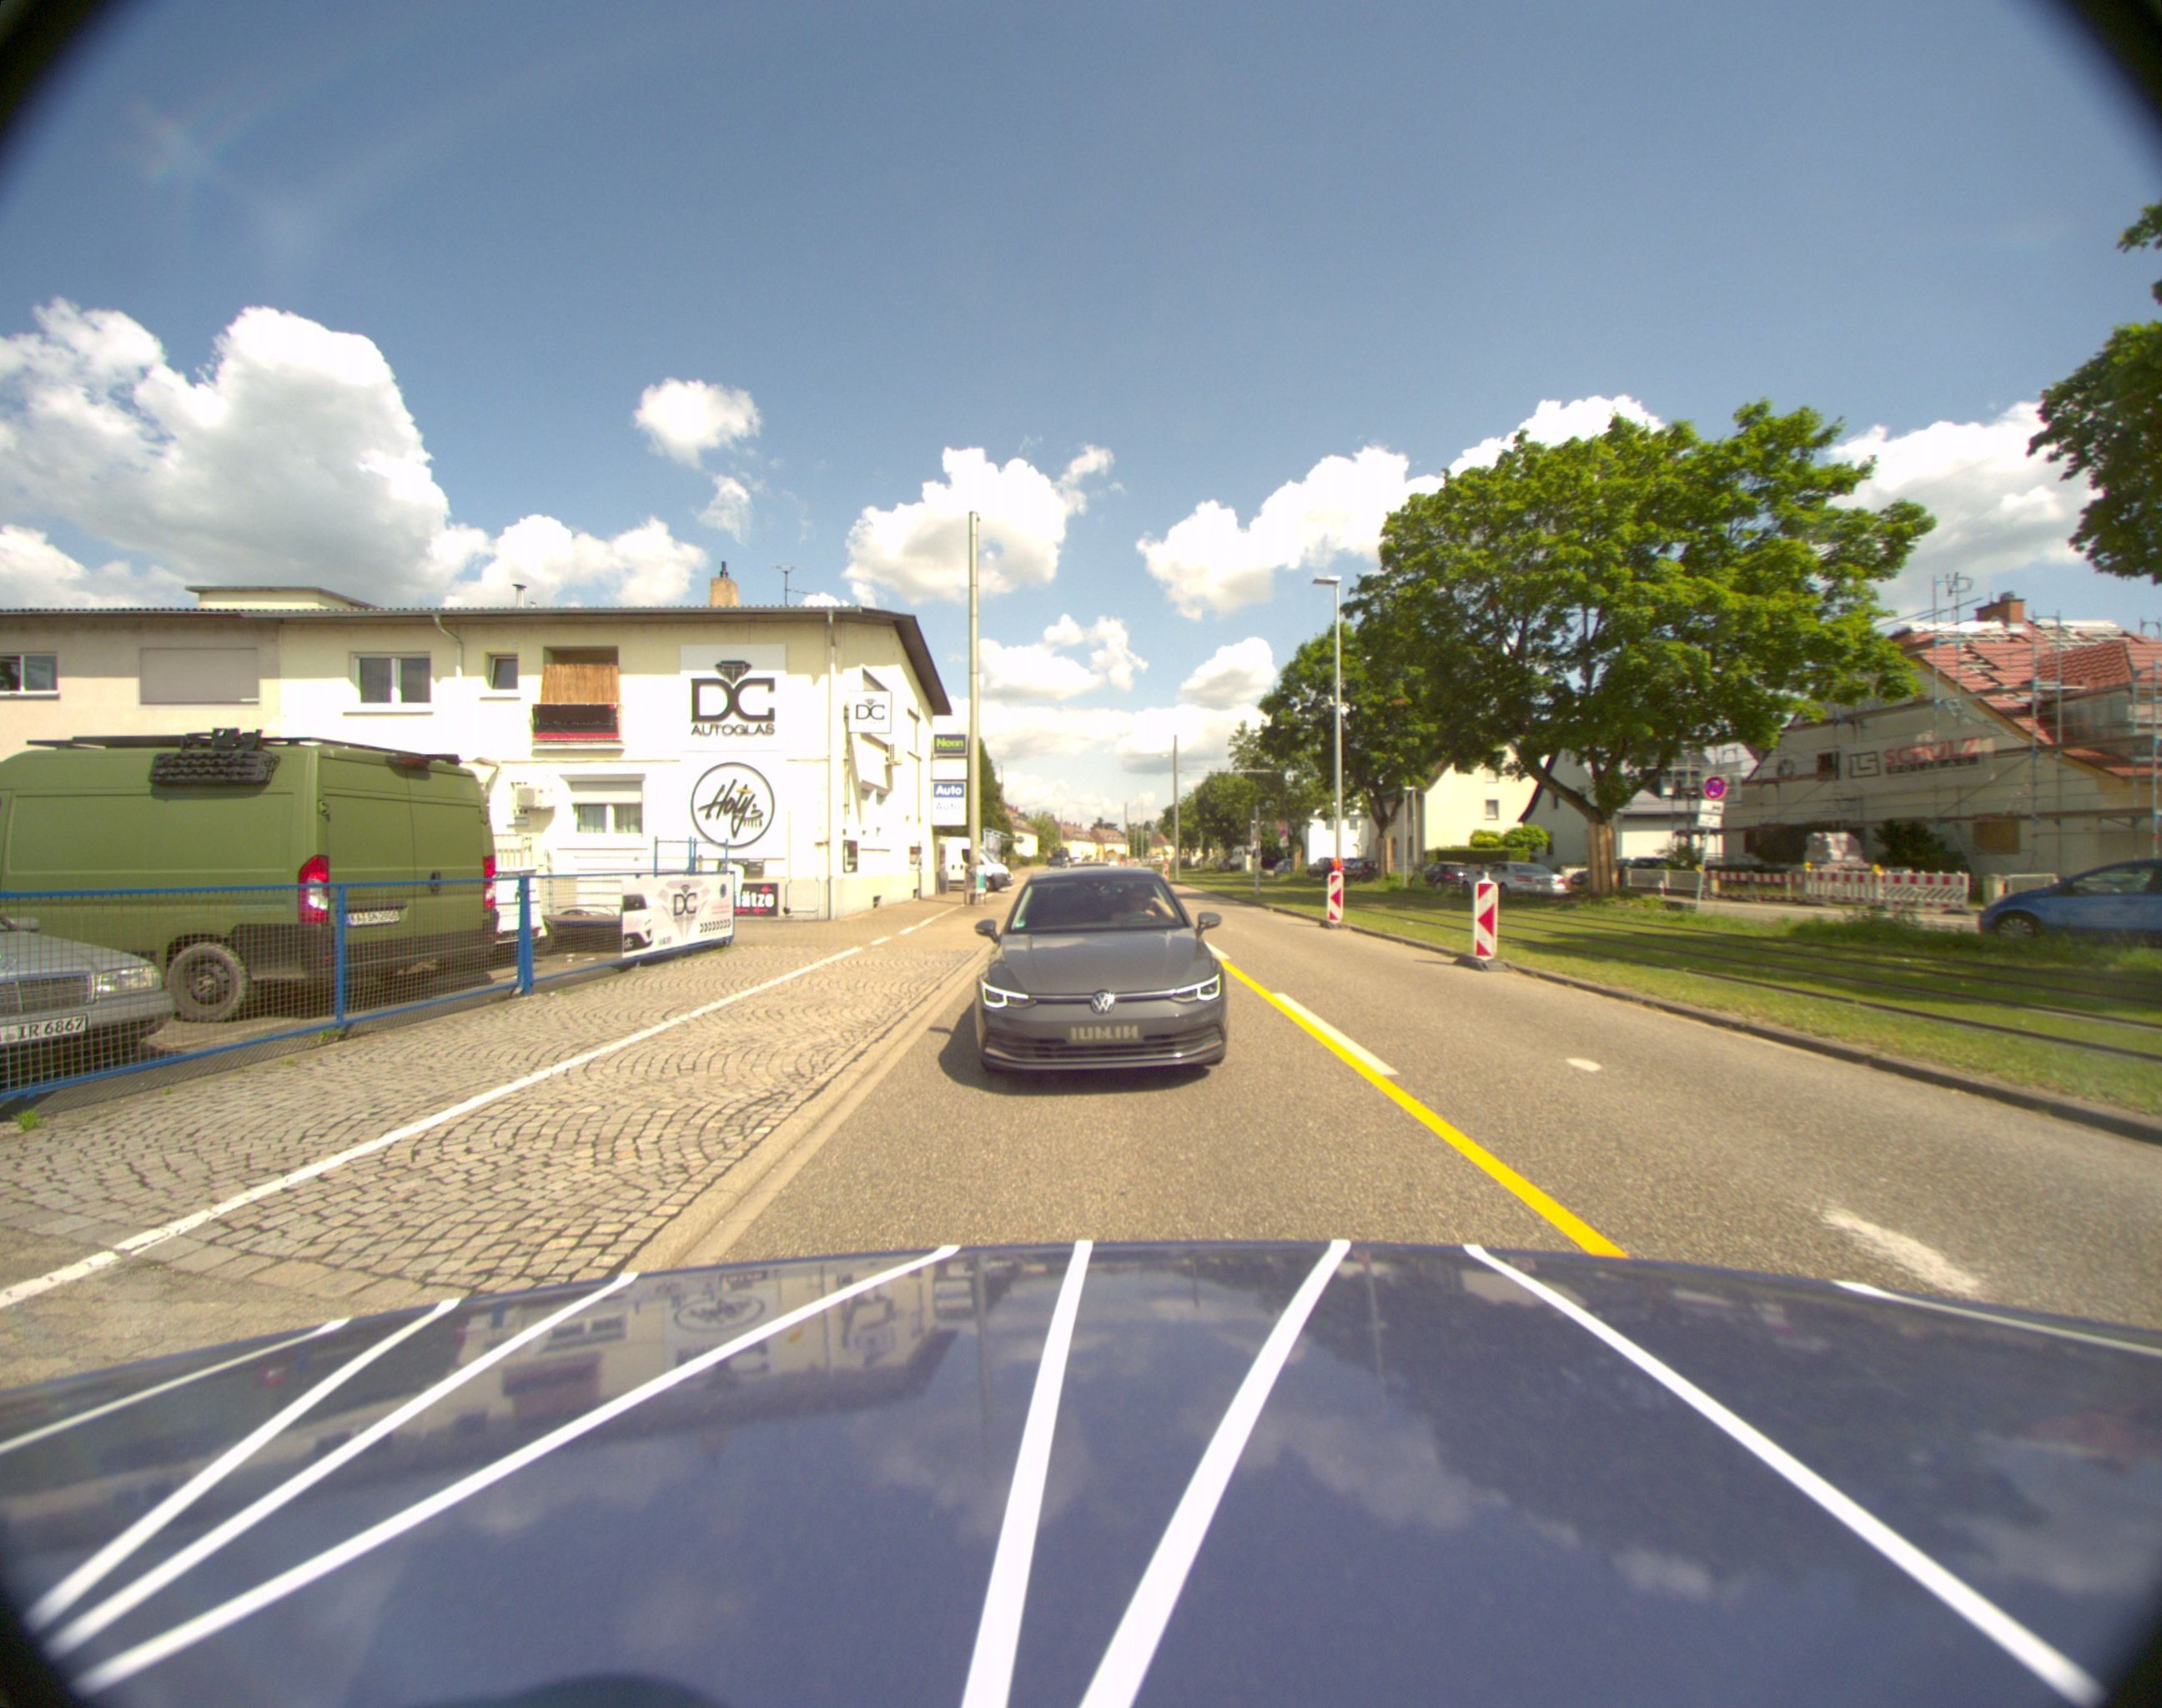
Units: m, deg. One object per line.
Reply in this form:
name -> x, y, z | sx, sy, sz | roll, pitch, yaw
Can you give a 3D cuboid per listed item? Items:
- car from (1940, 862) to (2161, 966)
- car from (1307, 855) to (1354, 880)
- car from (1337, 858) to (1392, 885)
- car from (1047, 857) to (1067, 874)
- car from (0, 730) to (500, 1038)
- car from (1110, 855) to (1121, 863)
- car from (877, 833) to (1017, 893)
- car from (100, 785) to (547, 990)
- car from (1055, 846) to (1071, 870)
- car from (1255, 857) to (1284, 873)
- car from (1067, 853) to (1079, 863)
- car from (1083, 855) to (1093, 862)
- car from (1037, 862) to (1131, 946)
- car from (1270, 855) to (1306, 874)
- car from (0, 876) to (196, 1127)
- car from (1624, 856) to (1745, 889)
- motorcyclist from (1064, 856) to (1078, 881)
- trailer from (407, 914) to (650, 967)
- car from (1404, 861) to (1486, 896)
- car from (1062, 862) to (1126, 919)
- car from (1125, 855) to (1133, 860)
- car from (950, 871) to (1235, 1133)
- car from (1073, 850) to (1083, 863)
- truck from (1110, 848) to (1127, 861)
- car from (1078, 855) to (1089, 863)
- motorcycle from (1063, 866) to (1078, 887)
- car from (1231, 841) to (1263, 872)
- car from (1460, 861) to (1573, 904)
car -> 16.222, 0.862, 11.397 | 1.702, 1.477, 4.407 | -1, -1, 1
car -> 16.553, 0.894, 50.659 | 1.702, 1.562, 4.407 | -1, -1, 1
car -> 16.770, 1.031, 45.153 | 1.702, 1.477, 4.407 | -1, -1, 1
car -> -2.186, 1.043, 70.752 | 1.702, 1.574, 4.000 | 0, 0, 1
car -> -8.726, 0.268, 7.608 | 4.207, 2.627, 2.113 | 0, 0, 2
car -> 6.709, 0.942, 150.239 | 2.118, 1.477, 4.406 | 0, 0, 2
car -> -5.927, 0.386, 34.074 | 5.836, 2.449, 2.092 | 2, 0, 1
car -> -9.500, 0.400, 9.747 | 4.207, 2.392, 1.586 | 0, 0, 2
car -> -1.913, 0.444, 82.437 | 1.702, 2.510, 5.144 | 0, 0, 0
car -> 17.646, 1.072, 71.325 | 1.702, 1.477, 4.407 | -1, -1, 1
car -> -1.315, 0.667, 123.038 | 1.701, 1.574, 4.001 | 0, 0, 3
car -> 1.443, 0.899, 155.836 | 1.701, 1.574, 4.002 | 0, 0, 7
car -> 0.079, 0.937, 15.788 | 1.702, 1.477, 4.000 | 0, 0, 1
car -> 16.643, 0.870, 61.280 | 1.702, 1.477, 4.407 | -1, -1, 1
car -> -8.459, 0.886, 4.772 | 4.282, 1.444, 1.713 | 0, 0, 8
car -> 28.905, 0.885, 36.509 | 4.402, 1.477, 1.704 | -1, -1, 1
motorcyclist -> -0.534, 0.770, 40.066 | 0.658, 1.284, 0.780 | 0, 0, 3
trailer -> -8.368, 1.304, 11.658 | 2.733, 0.662, 1.329 | 0, 0, -1
car -> 16.625, 1.116, 34.936 | 1.702, 1.477, 4.407 | -1, -1, 1
car -> 0.364, 1.007, 22.261 | 1.702, 1.477, 4.000 | 0, 0, 1
car -> 13.822, 0.936, 218.680 | 1.700, 1.574, 4.005 | 0, 0, 16
car -> 0.096, 0.933, 6.545 | 1.702, 1.477, 4.000 | 0, 0, 1
car -> -0.494, 0.414, 136.208 | 1.701, 2.233, 4.947 | 0, 0, 2
truck -> 9.912, 0.135, 201.049 | 2.710, 3.119, 8.124 | 0, 0, 15
car -> 0.485, 0.896, 146.705 | 1.701, 1.574, 4.002 | 0, 0, 6
motorcycle -> -0.529, 1.171, 40.099 | 0.658, 1.040, 2.111 | 0, 0, 3
car -> 16.816, 0.268, 77.270 | 2.136, 3.019, 5.084 | -1, -1, 1
car -> 16.432, 1.059, 28.965 | 1.788, 1.477, 4.523 | -1, -1, 2
